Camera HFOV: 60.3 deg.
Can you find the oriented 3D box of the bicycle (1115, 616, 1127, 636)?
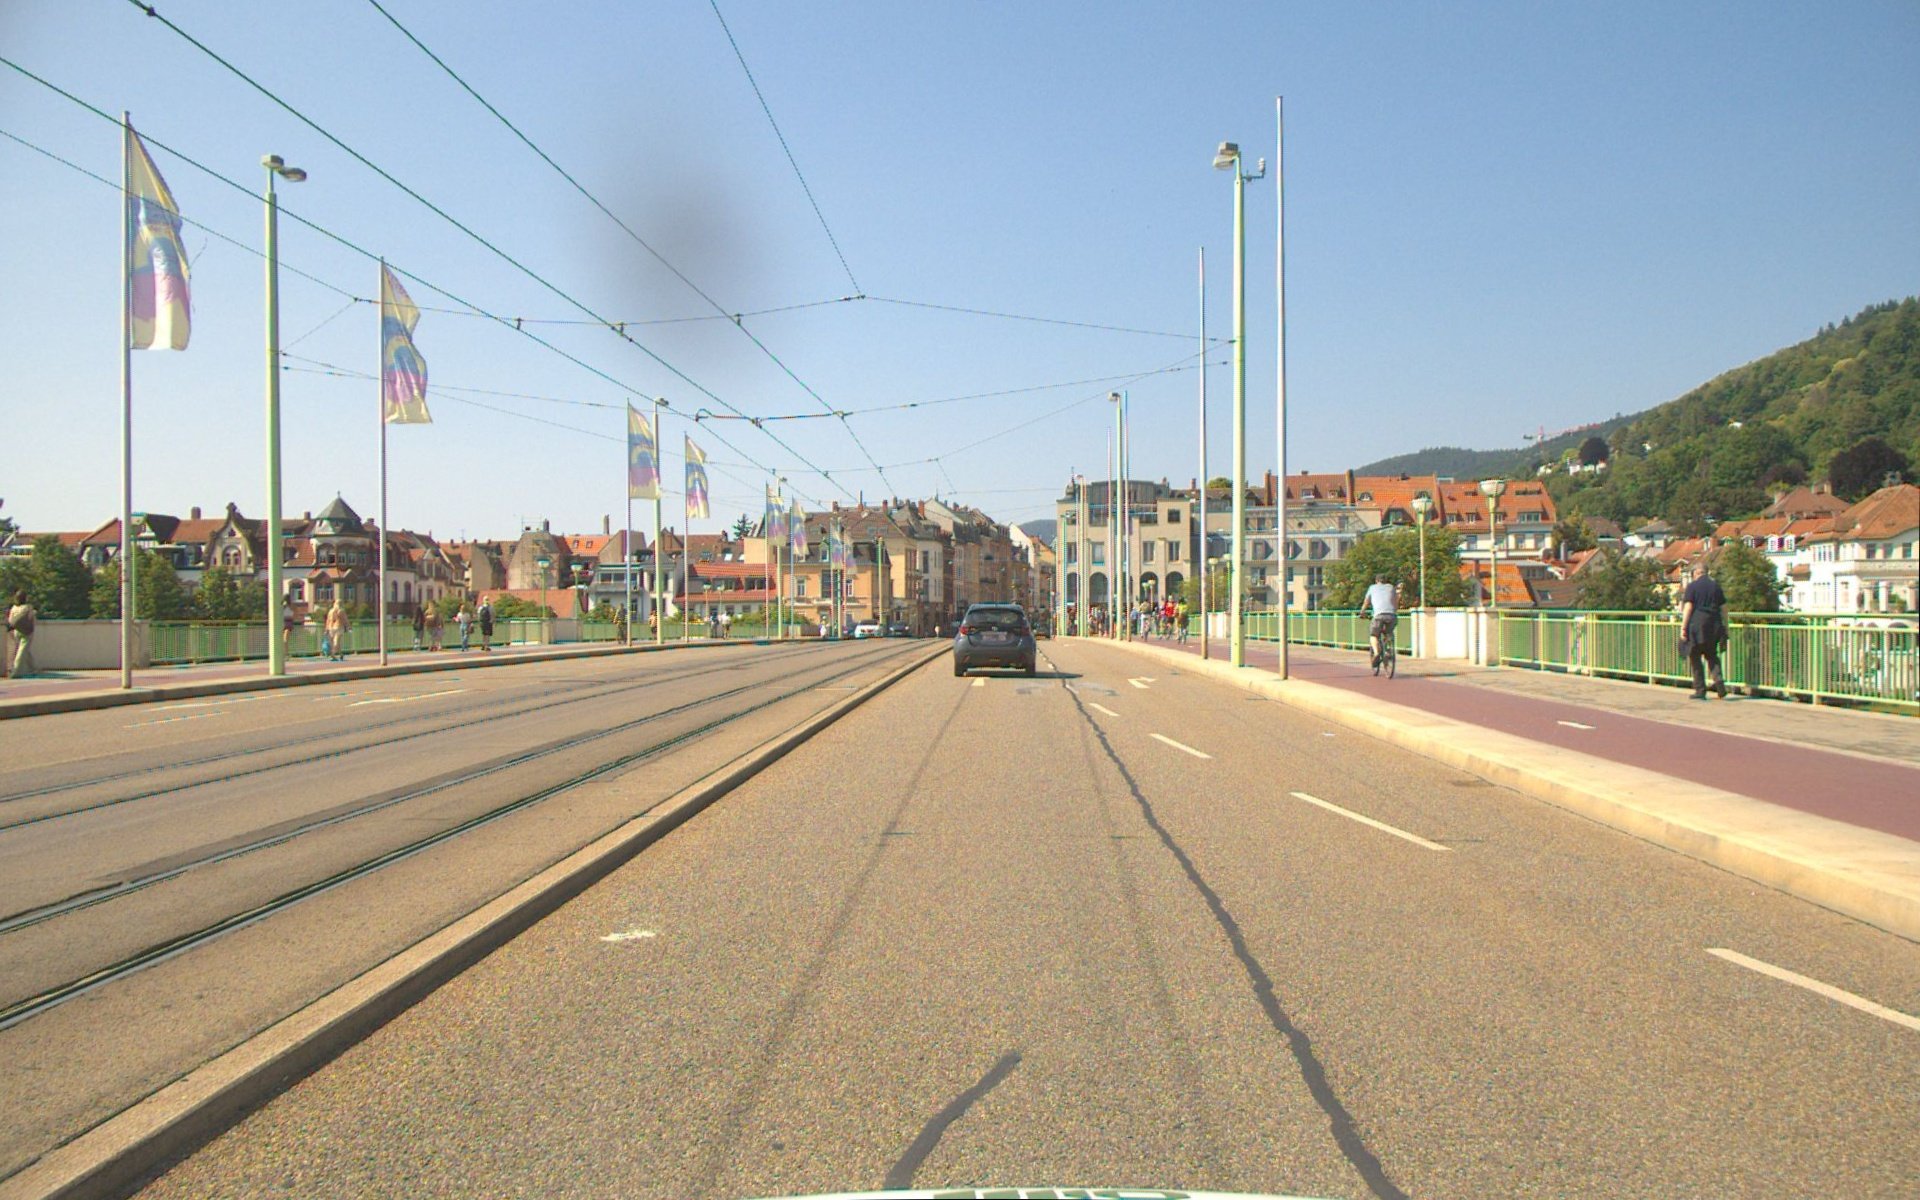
[{"bbox_3d":[9.593,1.536,98.351,0.515,1.199,2.029,-1,-1,0],"label":"bicycle"}]

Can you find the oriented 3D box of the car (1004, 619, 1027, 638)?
[{"bbox_3d":[4.708,2.446,141.153,1.767,1.494,3.999,-2,-1,-1],"label":"car"}]

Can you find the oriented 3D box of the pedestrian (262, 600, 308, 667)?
[{"bbox_3d":[-17.933,0.896,43.987,0.739,1.752,1.175,0,-1,-1],"label":"pedestrian"}]

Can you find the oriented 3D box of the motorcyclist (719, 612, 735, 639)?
[{"bbox_3d":[-13.936,1.533,98.999,0.784,1.576,1.069,-1,-1,1],"label":"motorcyclist"}]

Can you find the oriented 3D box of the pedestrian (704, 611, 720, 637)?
[{"bbox_3d":[-16.420,1.589,109.422,0.813,1.752,1.094,-1,-1,2],"label":"pedestrian"}]

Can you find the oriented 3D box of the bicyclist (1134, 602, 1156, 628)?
[{"bbox_3d":[7.493,0.620,66.998,0.720,1.048,1.175,-1,-1,0],"label":"bicyclist"}]

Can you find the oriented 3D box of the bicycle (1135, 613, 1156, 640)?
[{"bbox_3d":[7.503,1.060,66.933,0.605,1.056,2.051,-1,-1,0],"label":"bicycle"}]

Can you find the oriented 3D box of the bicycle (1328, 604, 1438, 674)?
[{"bbox_3d":[7.277,0.642,28.710,0.776,1.115,3.742,-1,0,-3],"label":"bicycle"}]

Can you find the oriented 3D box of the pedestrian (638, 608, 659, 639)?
[{"bbox_3d":[-17.045,1.306,90.522,0.880,1.687,1.029,0,-1,4],"label":"pedestrian"}]

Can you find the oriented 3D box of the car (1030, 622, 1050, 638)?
[{"bbox_3d":[7.762,2.872,159.795,1.766,1.494,4.002,-2,-1,4],"label":"car"}]

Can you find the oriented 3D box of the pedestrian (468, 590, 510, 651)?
[{"bbox_3d":[-16.015,0.694,56.262,1.075,2.049,1.295,-1,0,-1],"label":"pedestrian"}]

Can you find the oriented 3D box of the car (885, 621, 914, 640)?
[{"bbox_3d":[-5.644,2.845,154.313,1.951,1.627,4.341,-1,0,9],"label":"car"}]

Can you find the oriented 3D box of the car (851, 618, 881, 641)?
[{"bbox_3d":[-6.667,2.046,117.185,1.955,1.434,4.542,-2,1,-6],"label":"car"}]

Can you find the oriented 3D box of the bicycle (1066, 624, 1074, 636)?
[{"bbox_3d":[9.625,2.656,144.451,0.639,0.999,2.179,-2,-1,5],"label":"bicycle"}]

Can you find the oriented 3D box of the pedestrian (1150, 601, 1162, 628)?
[{"bbox_3d":[11.483,0.857,97.013,0.587,1.614,0.867,-1,-1,0],"label":"pedestrian"}]

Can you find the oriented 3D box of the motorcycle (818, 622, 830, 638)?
[{"bbox_3d":[-9.994,2.176,121.607,0.686,1.129,2.179,-1,-1,1],"label":"motorcycle"}]

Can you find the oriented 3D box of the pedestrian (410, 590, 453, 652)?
[{"bbox_3d":[-17.745,0.684,55.603,1.075,2.049,1.129,-1,0,-1],"label":"pedestrian"}]

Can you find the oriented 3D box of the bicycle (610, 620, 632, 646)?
[{"bbox_3d":[-15.044,1.465,73.385,0.576,1.116,2.112,-1,-2,-1],"label":"bicycle"}]

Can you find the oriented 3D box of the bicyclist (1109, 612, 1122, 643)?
[{"bbox_3d":[8.680,1.503,92.095,0.642,1.705,0.869,-1,-1,1],"label":"bicyclist"}]

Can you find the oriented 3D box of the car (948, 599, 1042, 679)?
[{"bbox_3d":[0.685,0.782,35.360,1.871,1.567,4.000,0,1,-1],"label":"car"}]

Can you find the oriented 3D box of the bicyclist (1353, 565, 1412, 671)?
[{"bbox_3d":[7.276,0.298,28.527,0.659,1.774,1.150,-1,0,-3],"label":"bicyclist"}]

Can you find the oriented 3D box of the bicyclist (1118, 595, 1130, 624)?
[{"bbox_3d":[9.737,0.581,98.244,0.615,1.719,0.869,-1,-1,0],"label":"bicyclist"}]

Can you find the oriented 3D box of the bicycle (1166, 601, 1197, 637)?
[{"bbox_3d":[7.828,0.677,58.555,0.681,1.214,2.077,-1,-1,-4],"label":"bicycle"}]

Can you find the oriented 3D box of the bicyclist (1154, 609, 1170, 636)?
[{"bbox_3d":[8.667,0.968,71.003,0.586,1.121,0.853,-1,-1,11],"label":"bicyclist"}]

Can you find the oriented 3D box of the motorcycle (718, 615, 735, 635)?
[{"bbox_3d":[-13.961,1.483,98.990,0.686,1.129,2.179,-1,-1,1],"label":"motorcycle"}]

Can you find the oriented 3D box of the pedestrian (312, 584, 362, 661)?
[{"bbox_3d":[-16.790,0.602,44.587,0.949,2.049,1.101,-1,0,-4],"label":"pedestrian"}]

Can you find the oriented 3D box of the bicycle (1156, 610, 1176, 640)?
[{"bbox_3d":[9.130,1.103,73.360,0.605,1.293,2.216,-1,-1,0],"label":"bicycle"}]

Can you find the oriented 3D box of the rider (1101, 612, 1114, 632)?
[{"bbox_3d":[11.392,1.669,127.793,0.870,1.531,0.841,-1,-1,0],"label":"rider"}]

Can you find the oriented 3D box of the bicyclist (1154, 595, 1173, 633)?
[{"bbox_3d":[9.058,0.613,73.473,0.720,1.664,0.867,-1,-1,0],"label":"bicyclist"}]

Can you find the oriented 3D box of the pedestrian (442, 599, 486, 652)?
[{"bbox_3d":[-16.826,0.840,56.131,1.075,1.759,1.295,-1,0,-1],"label":"pedestrian"}]

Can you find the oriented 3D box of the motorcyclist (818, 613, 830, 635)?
[{"bbox_3d":[-9.996,1.732,121.657,0.810,1.601,0.832,-1,-1,1],"label":"motorcyclist"}]

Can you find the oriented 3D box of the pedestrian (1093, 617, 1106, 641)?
[{"bbox_3d":[9.997,2.090,118.589,0.816,1.719,0.869,0,-1,1],"label":"pedestrian"}]

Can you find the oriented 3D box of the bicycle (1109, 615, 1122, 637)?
[{"bbox_3d":[8.654,1.463,92.115,0.581,1.199,1.939,-1,-1,0],"label":"bicycle"}]

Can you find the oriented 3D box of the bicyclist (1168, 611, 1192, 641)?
[{"bbox_3d":[7.807,0.924,58.705,0.653,1.063,0.979,-1,-1,-4],"label":"bicyclist"}]

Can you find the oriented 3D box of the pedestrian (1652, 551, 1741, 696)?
[{"bbox_3d":[9.289,0.281,20.887,0.641,1.774,0.978,-1,1,-4],"label":"pedestrian"}]

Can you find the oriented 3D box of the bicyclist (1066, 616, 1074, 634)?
[{"bbox_3d":[9.616,2.197,144.528,0.639,1.594,1.338,-2,-1,5],"label":"bicyclist"}]

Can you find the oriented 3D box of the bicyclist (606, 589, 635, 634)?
[{"bbox_3d":[-15.077,0.509,73.521,1.075,1.995,1.129,-1,0,-1],"label":"bicyclist"}]

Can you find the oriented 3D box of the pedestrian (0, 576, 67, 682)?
[{"bbox_3d":[-18.245,0.556,32.434,0.880,2.049,1.042,-1,0,-1],"label":"pedestrian"}]
